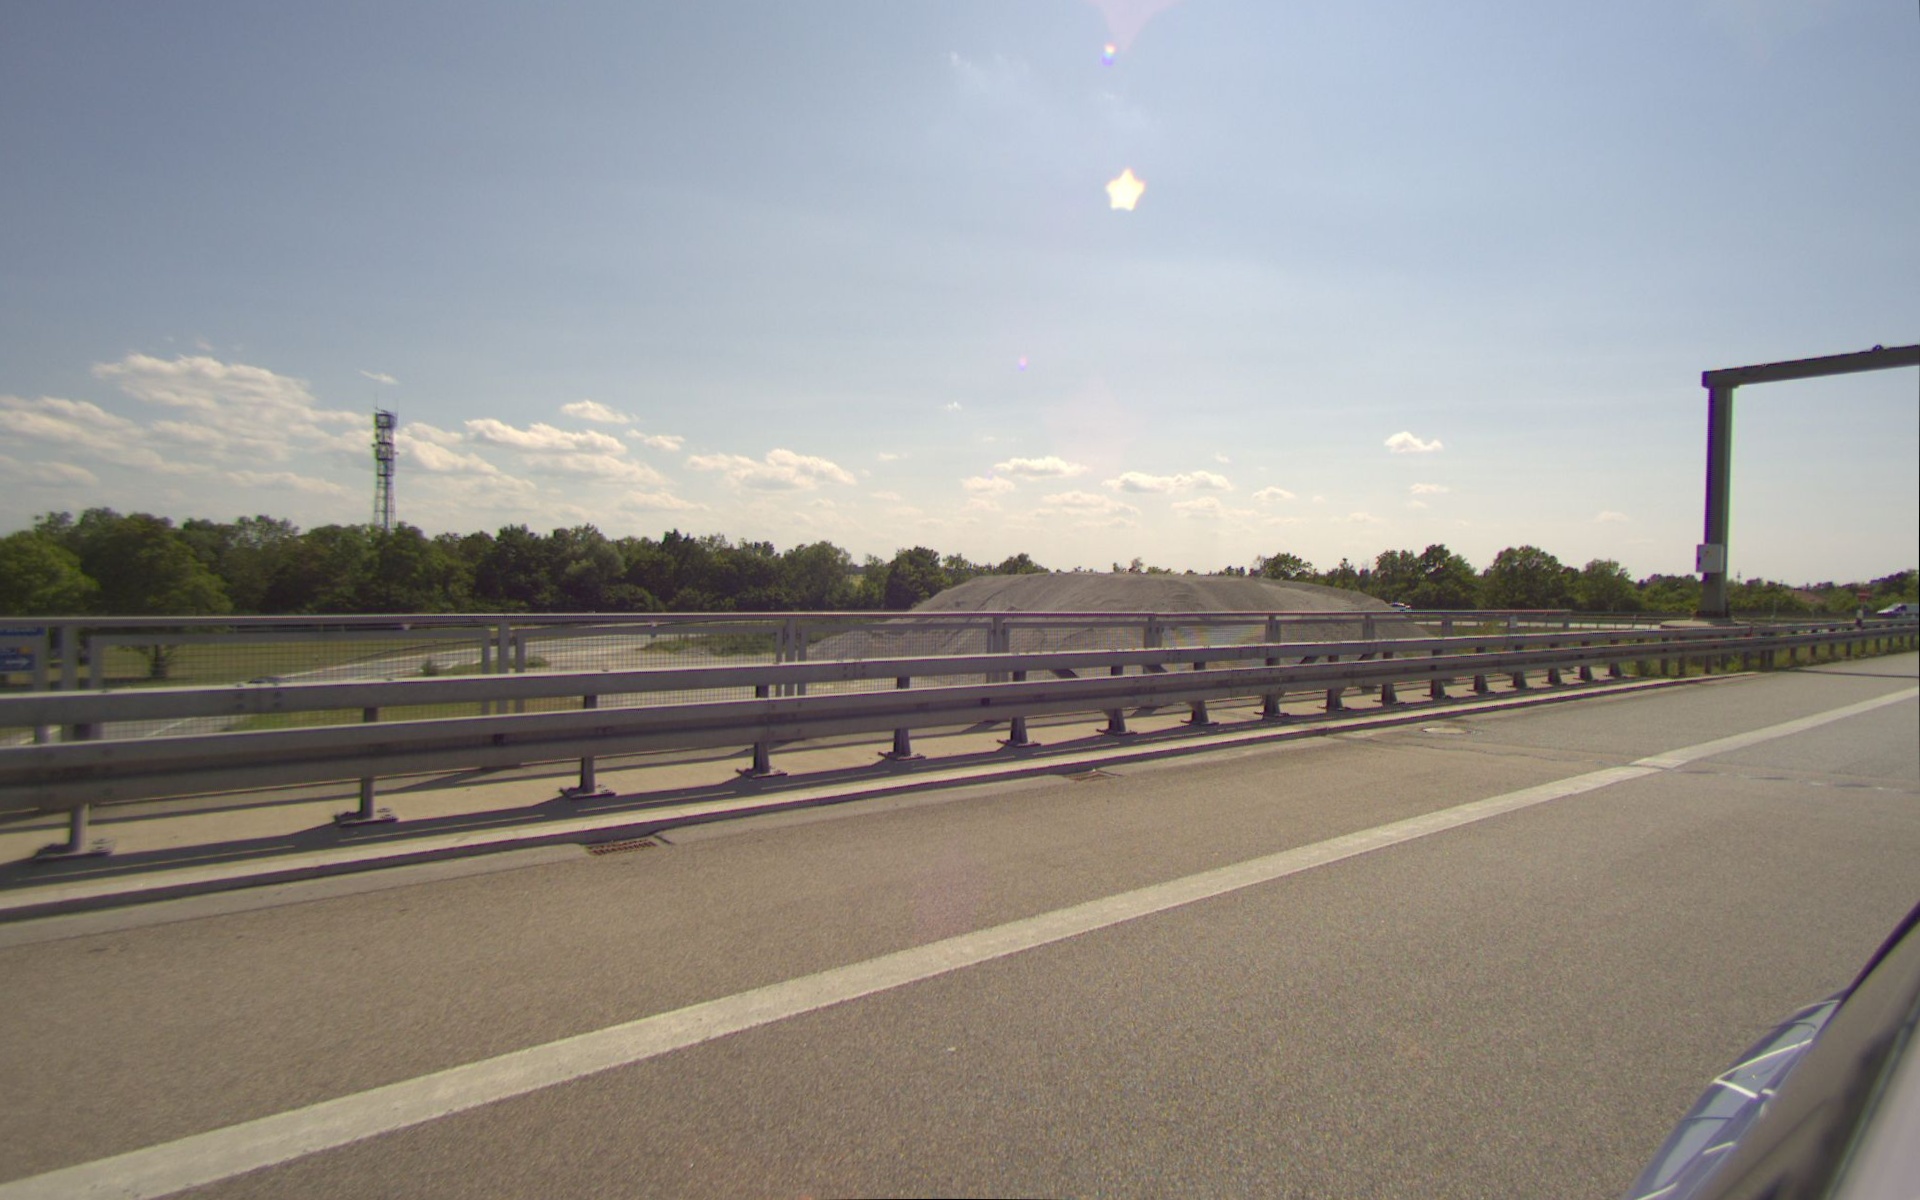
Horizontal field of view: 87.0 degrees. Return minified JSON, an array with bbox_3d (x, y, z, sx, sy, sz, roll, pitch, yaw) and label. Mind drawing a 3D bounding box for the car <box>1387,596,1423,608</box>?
[{"bbox_3d":[60.295,0.287,137.180,4.262,1.527,1.979,-1,-1,30],"label":"car"}]
